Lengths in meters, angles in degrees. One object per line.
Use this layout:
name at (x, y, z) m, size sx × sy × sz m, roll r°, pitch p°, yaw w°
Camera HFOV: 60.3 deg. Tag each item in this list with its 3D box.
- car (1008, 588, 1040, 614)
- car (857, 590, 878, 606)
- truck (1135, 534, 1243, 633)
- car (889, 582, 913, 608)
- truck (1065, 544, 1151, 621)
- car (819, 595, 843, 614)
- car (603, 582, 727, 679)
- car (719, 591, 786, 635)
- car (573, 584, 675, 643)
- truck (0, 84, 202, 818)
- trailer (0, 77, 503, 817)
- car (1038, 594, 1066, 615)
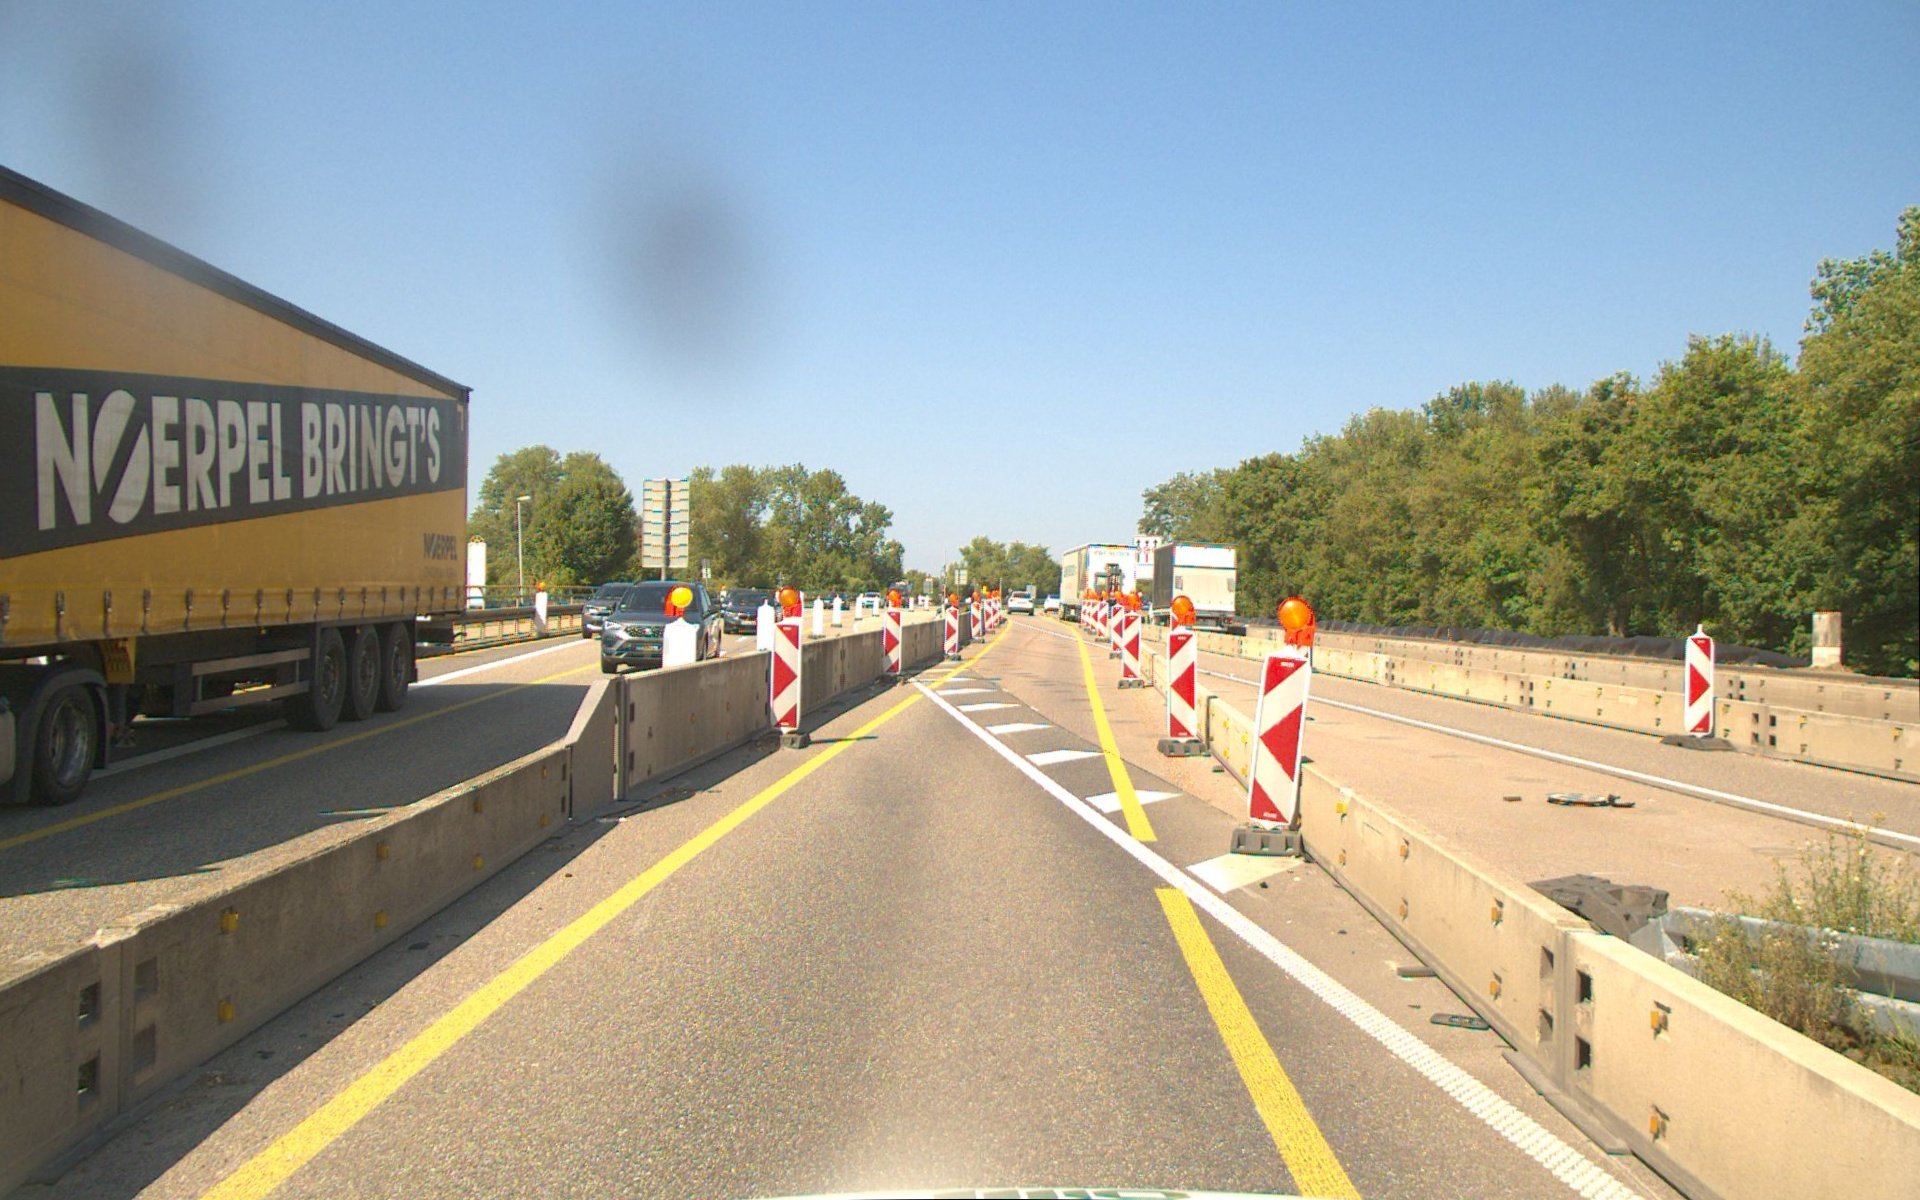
car at (4.469, 0.044, 116.011) m, size 1.781 × 1.807 × 3.997 m, roll 0°, pitch 0°, yaw -4°
car at (-8.808, -0.199, 157.658) m, size 1.684 × 1.421 × 4.519 m, roll 2°, pitch 0°, yaw -1°
truck at (8.435, -0.608, 61.763) m, size 2.582 × 3.487 × 7.227 m, roll 0°, pitch 0°, yaw -4°
car at (-6.233, -0.508, 175.742) m, size 2.101 × 2.707 × 5.548 m, roll 1°, pitch 0°, yaw 2°
truck at (7.586, -0.867, 85.819) m, size 3.321 × 3.840 × 7.227 m, roll 0°, pitch 0°, yaw -4°
car at (-10.292, 0.326, 132.350) m, size 1.702 × 1.502 × 4.644 m, roll 1°, pitch 0°, yaw -2°
car at (-5.214, 0.497, 29.625) m, size 1.755 × 1.596 × 3.869 m, roll 1°, pitch 0°, yaw -4°
car at (-6.916, 0.422, 55.444) m, size 1.654 × 1.400 × 4.273 m, roll 1°, pitch 0°, yaw 0°
car at (-9.341, 0.346, 46.325) m, size 1.893 × 1.534 × 4.469 m, roll 1°, pitch 0°, yaw 0°
truck at (-6.830, -0.855, 9.076) m, size 2.695 × 4.209 × 6.411 m, roll 0°, pitch 0°, yaw -3°
trailer at (-7.218, -0.882, 15.610) m, size 2.706 × 4.209 × 14.520 m, roll 0°, pitch 0°, yaw -4°
car at (7.930, 0.381, 143.553) m, size 1.954 × 1.807 × 3.997 m, roll 0°, pitch 0°, yaw -4°
